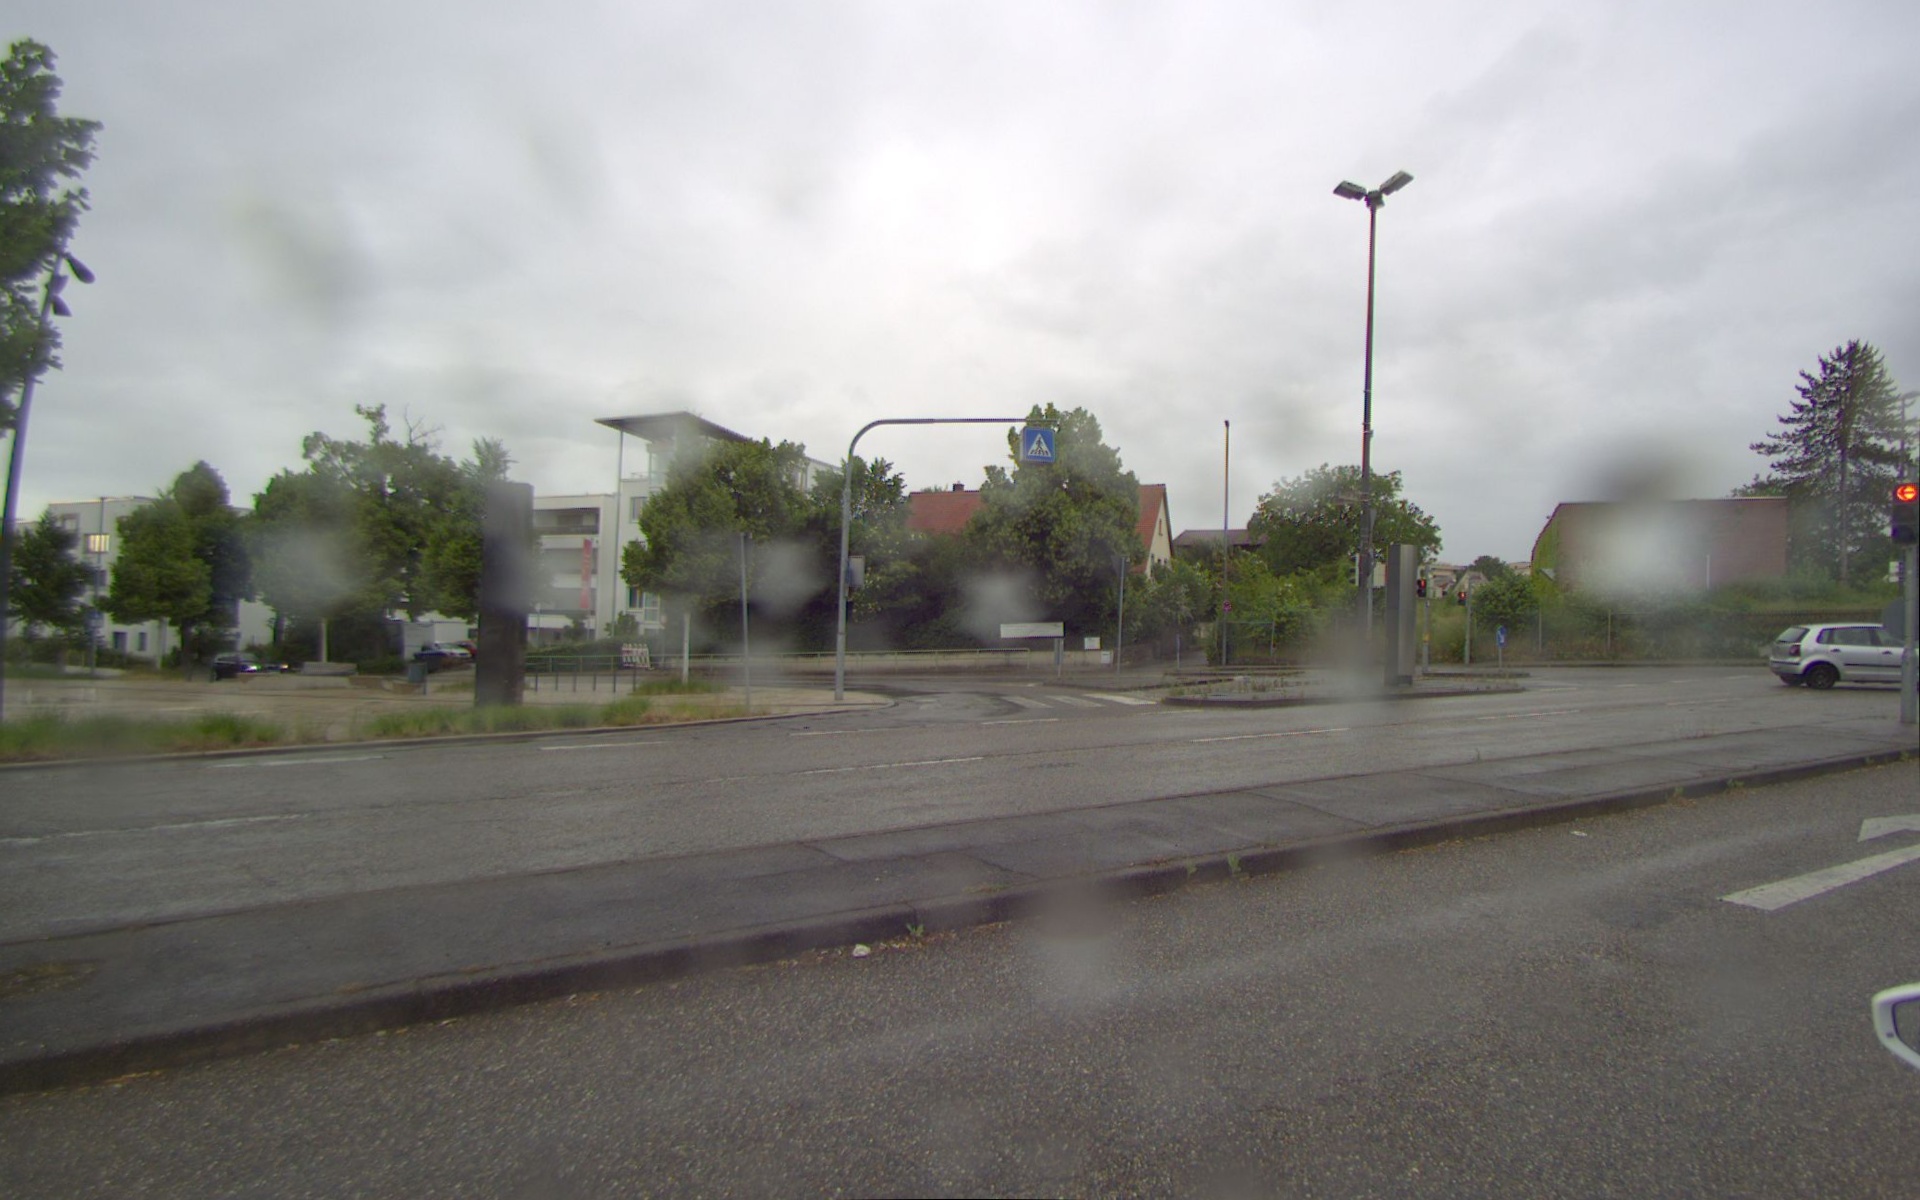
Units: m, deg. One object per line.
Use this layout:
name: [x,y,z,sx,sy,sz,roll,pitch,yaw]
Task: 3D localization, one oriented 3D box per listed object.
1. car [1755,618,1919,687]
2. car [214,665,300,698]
car: [20.578,1.178,22.599,3.923,1.486,1.586,0,-2,22]
car: [-33.835,3.897,48.350,4.205,1.408,1.787,-1,-2,30]
